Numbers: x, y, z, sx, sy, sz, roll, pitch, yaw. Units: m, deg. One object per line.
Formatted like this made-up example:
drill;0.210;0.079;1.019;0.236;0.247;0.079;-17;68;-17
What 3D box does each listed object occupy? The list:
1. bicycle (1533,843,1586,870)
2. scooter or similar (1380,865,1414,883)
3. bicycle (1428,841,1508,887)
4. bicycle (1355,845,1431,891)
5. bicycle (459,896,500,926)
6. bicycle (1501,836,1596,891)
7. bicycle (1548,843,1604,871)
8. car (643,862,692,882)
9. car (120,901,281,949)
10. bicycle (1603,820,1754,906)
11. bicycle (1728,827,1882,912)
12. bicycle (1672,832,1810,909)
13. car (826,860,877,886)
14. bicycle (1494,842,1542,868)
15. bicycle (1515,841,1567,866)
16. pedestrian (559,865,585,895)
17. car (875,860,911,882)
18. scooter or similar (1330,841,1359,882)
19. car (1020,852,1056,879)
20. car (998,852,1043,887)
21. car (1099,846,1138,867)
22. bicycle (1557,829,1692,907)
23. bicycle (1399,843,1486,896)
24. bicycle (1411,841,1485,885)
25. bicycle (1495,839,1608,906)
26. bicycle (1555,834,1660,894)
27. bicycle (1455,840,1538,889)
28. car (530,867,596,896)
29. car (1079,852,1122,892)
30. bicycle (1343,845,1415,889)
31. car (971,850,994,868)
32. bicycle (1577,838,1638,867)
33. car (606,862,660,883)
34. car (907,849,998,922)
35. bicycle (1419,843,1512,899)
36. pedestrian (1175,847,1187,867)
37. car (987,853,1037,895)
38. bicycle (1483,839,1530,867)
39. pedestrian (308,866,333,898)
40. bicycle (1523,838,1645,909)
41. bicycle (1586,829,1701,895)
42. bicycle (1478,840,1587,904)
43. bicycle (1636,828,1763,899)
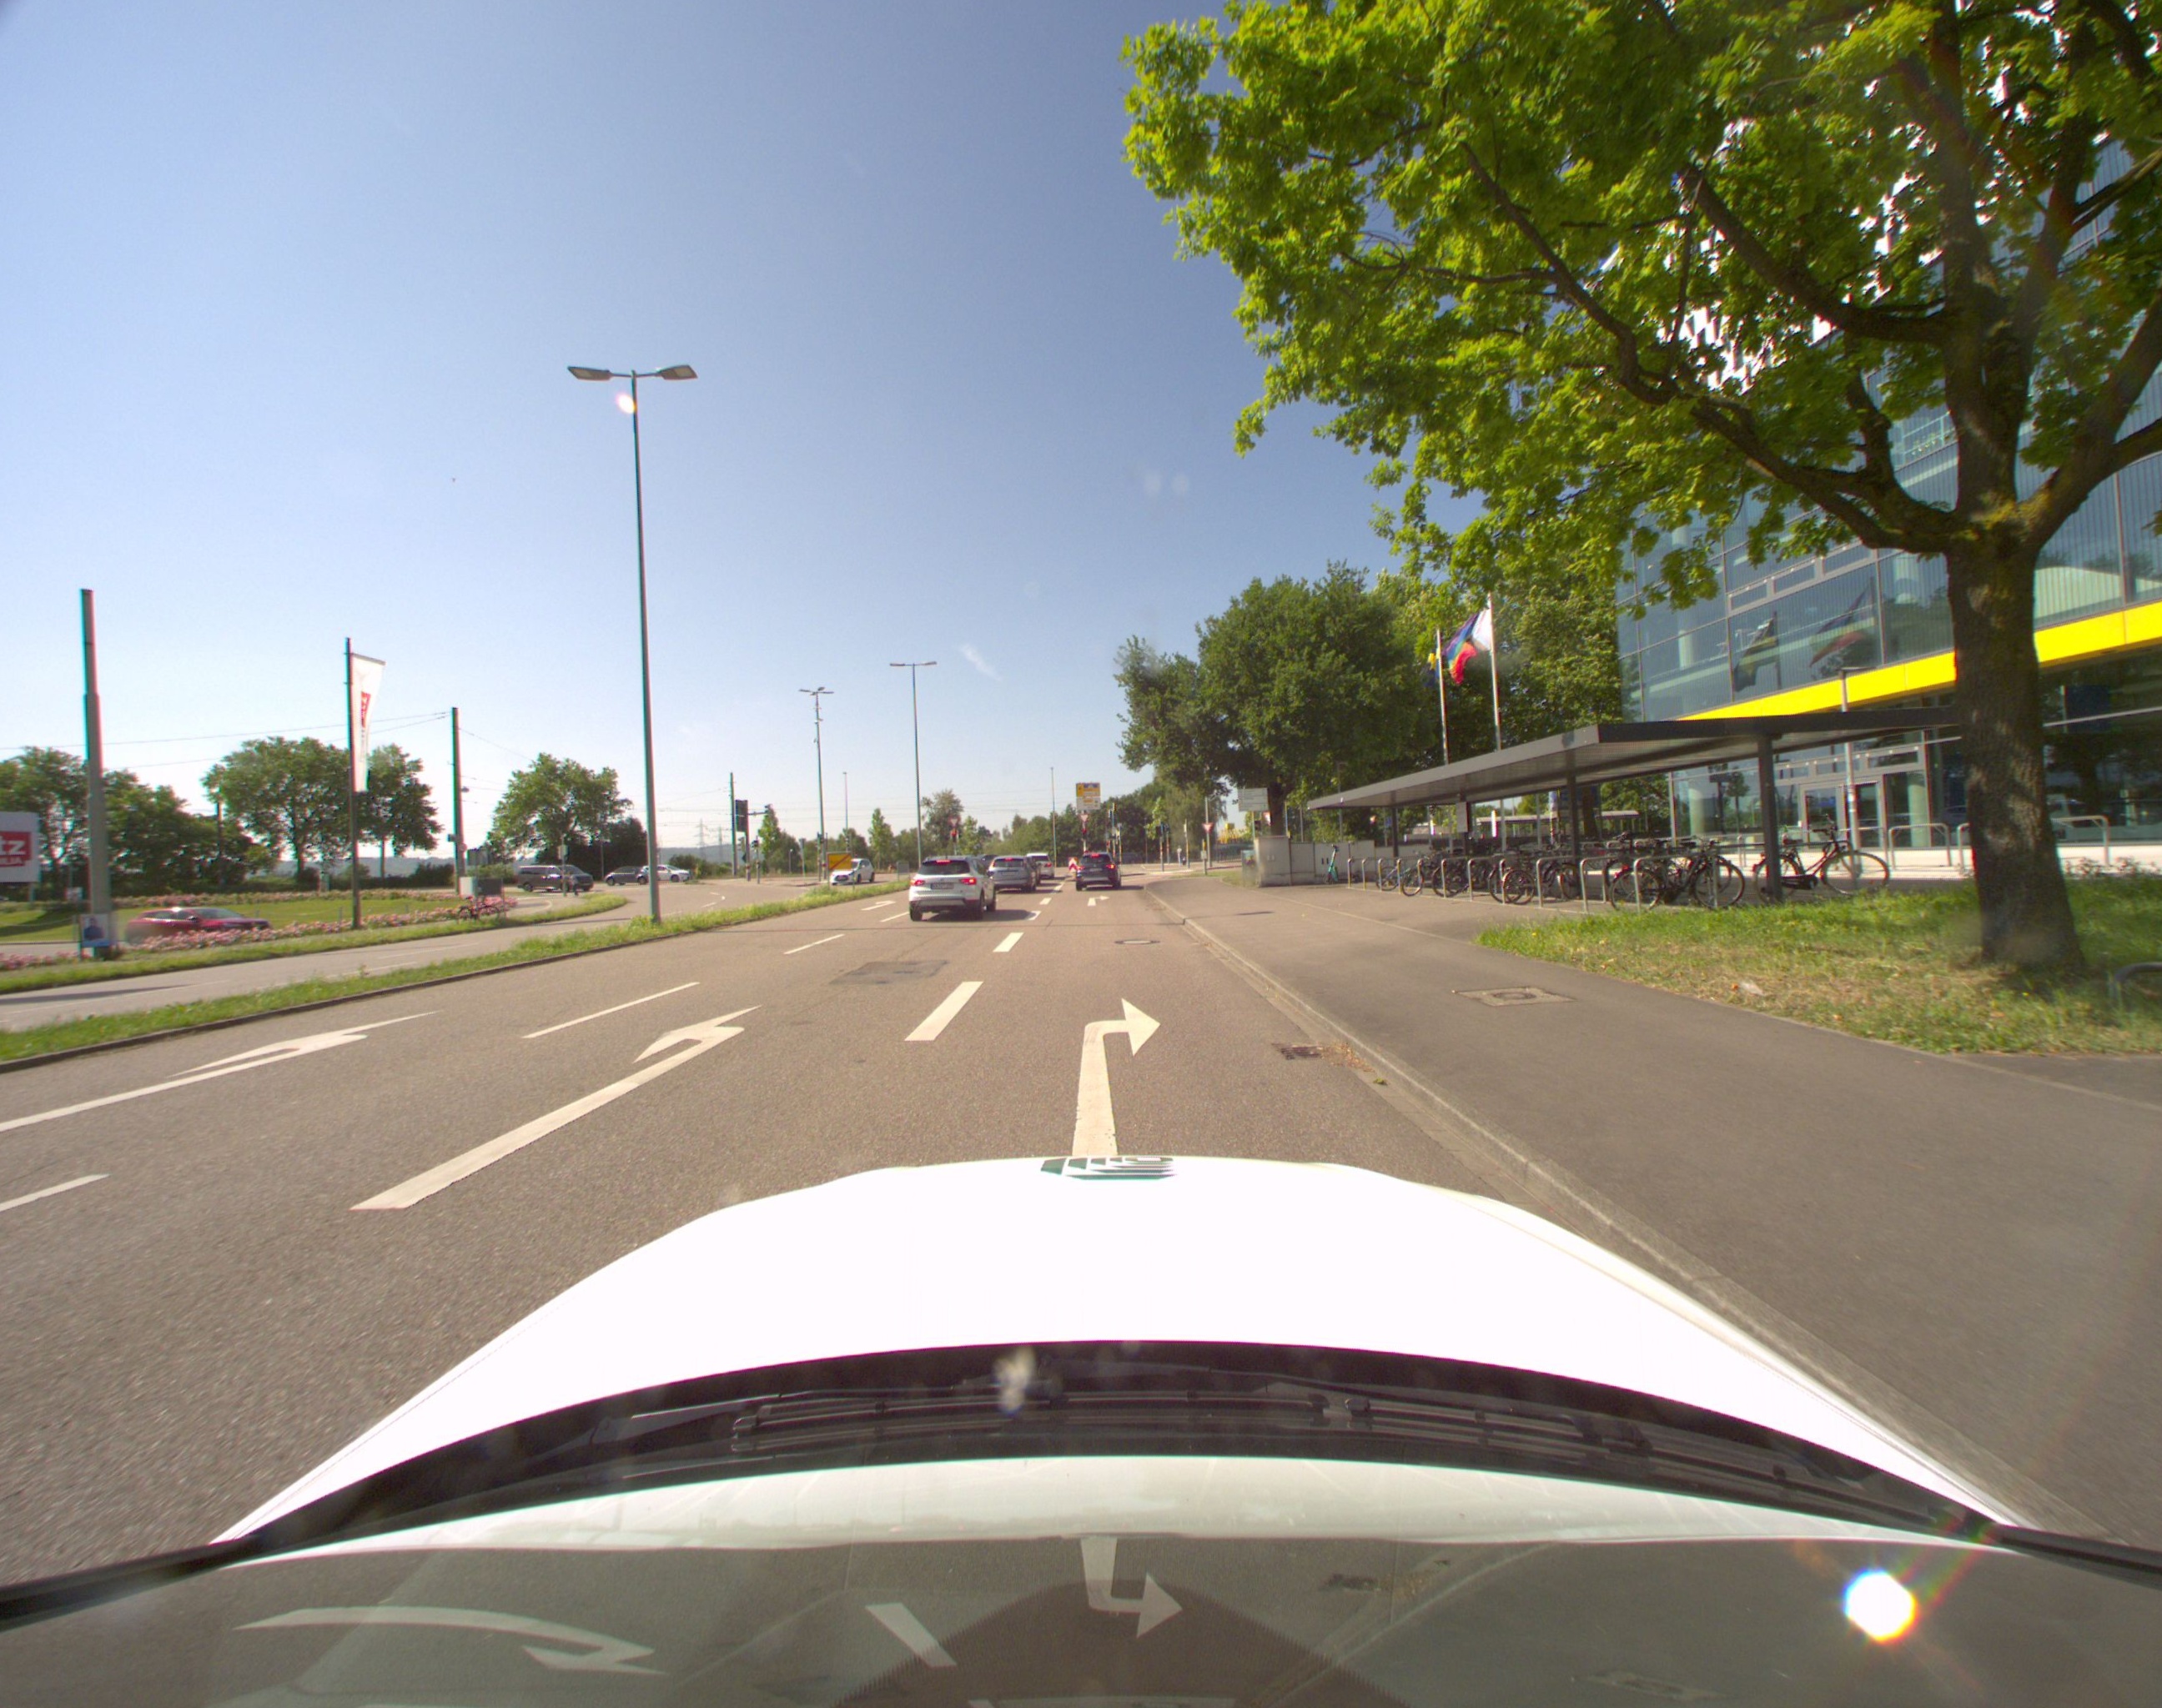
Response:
bicycle;16.399;0.072;27.908;1.556;0.843;0.433;-3;0;-1
scooter or similar;9.352;0.582;24.103;0.908;0.451;0.966;-5;-2;21
bicycle;10.044;0.253;21.155;1.822;1.096;0.452;-3;0;0
bicycle;8.119;0.368;21.216;1.752;1.096;0.452;-3;0;0
bicycle;-22.149;2.095;30.018;0.329;1.023;1.642;-4;-2;-3
bicycle;10.122;0.199;17.649;1.752;1.096;0.452;-3;0;0
bicycle;16.362;0.085;26.941;1.555;0.843;0.434;-3;0;2
car;-34.361;1.491;67.721;3.336;1.500;1.408;-2;-2;-4
car;-35.011;2.811;32.481;4.175;1.605;1.824;-2;-2;-4
bicycle;8.455;0.128;11.547;1.752;1.096;0.452;-3;0;0
bicycle;10.359;0.221;11.671;1.752;1.096;0.452;-3;0;0
bicycle;10.301;0.251;12.735;1.752;1.096;0.452;-3;0;0
car;-14.783;1.223;52.690;1.786;1.547;4.091;-2;-1;4
bicycle;16.388;0.032;30.550;1.555;0.910;0.434;-3;0;2
bicycle;16.441;-0.021;29.123;1.555;0.843;0.434;-3;0;2
pedestrian;-30.329;1.550;48.545;0.834;1.707;0.909;-3;0;12
car;-9.733;0.866;42.329;1.113;1.004;2.494;-3;0;3
scooter or similar;8.438;0.227;26.102;0.775;1.265;0.283;-3;0;-3
car;-2.484;0.646;47.971;1.735;1.448;4.389;-2;0;1
car;-2.881;0.715;39.577;1.731;1.511;4.201;-3;0;1
car;3.979;0.296;86.887;3.978;2.014;1.997;-2;-2;-3
bicycle;8.477;0.211;12.732;1.752;1.096;0.463;-3;0;0
bicycle;8.326;0.352;18.793;1.752;1.096;0.452;-3;0;0
bicycle;10.030;0.245;22.270;1.752;1.096;0.452;-3;0;0
bicycle;8.555;0.331;14.836;1.752;1.096;0.452;-3;0;0
bicycle;10.565;0.198;16.362;1.752;1.096;0.452;-3;0;0
bicycle;10.150;0.244;19.937;1.752;1.096;0.452;-3;0;0
car;-35.894;1.898;56.413;3.952;1.925;1.826;-1;1;22
car;0.802;0.726;33.932;1.664;1.523;3.377;-2;0;0
bicycle;8.126;0.348;22.216;1.752;1.096;0.452;-3;0;0
car;-9.645;0.438;79.777;1.621;1.624;3.918;-3;1;1
bicycle;16.407;-0.051;25.381;1.555;0.843;0.434;-3;0;2
car;-35.485;1.484;64.532;3.377;1.500;1.408;-3;-2;-2
car;-3.138;0.710;20.579;1.625;1.498;3.870;-2;2;0
bicycle;8.308;0.366;17.643;1.752;1.096;0.452;-3;0;0
pedestrian;7.963;0.211;64.676;0.768;1.510;1.011;-3;1;12
car;-2.742;0.754;33.069;1.701;1.573;4.173;-1;0;-1
bicycle;16.439;-0.049;31.470;1.555;0.995;0.434;-3;0;2
pedestrian;-48.159;1.758;51.582;0.712;1.972;0.919;-3;-2;5
bicycle;8.570;0.322;13.907;1.752;1.096;0.452;-3;0;0
bicycle;10.307;0.150;14.946;1.752;1.096;0.452;-3;0;0
bicycle;8.550;0.330;15.449;1.752;1.096;0.452;-3;0;0
bicycle;10.475;0.157;13.816;1.752;1.096;0.452;-3;0;0
